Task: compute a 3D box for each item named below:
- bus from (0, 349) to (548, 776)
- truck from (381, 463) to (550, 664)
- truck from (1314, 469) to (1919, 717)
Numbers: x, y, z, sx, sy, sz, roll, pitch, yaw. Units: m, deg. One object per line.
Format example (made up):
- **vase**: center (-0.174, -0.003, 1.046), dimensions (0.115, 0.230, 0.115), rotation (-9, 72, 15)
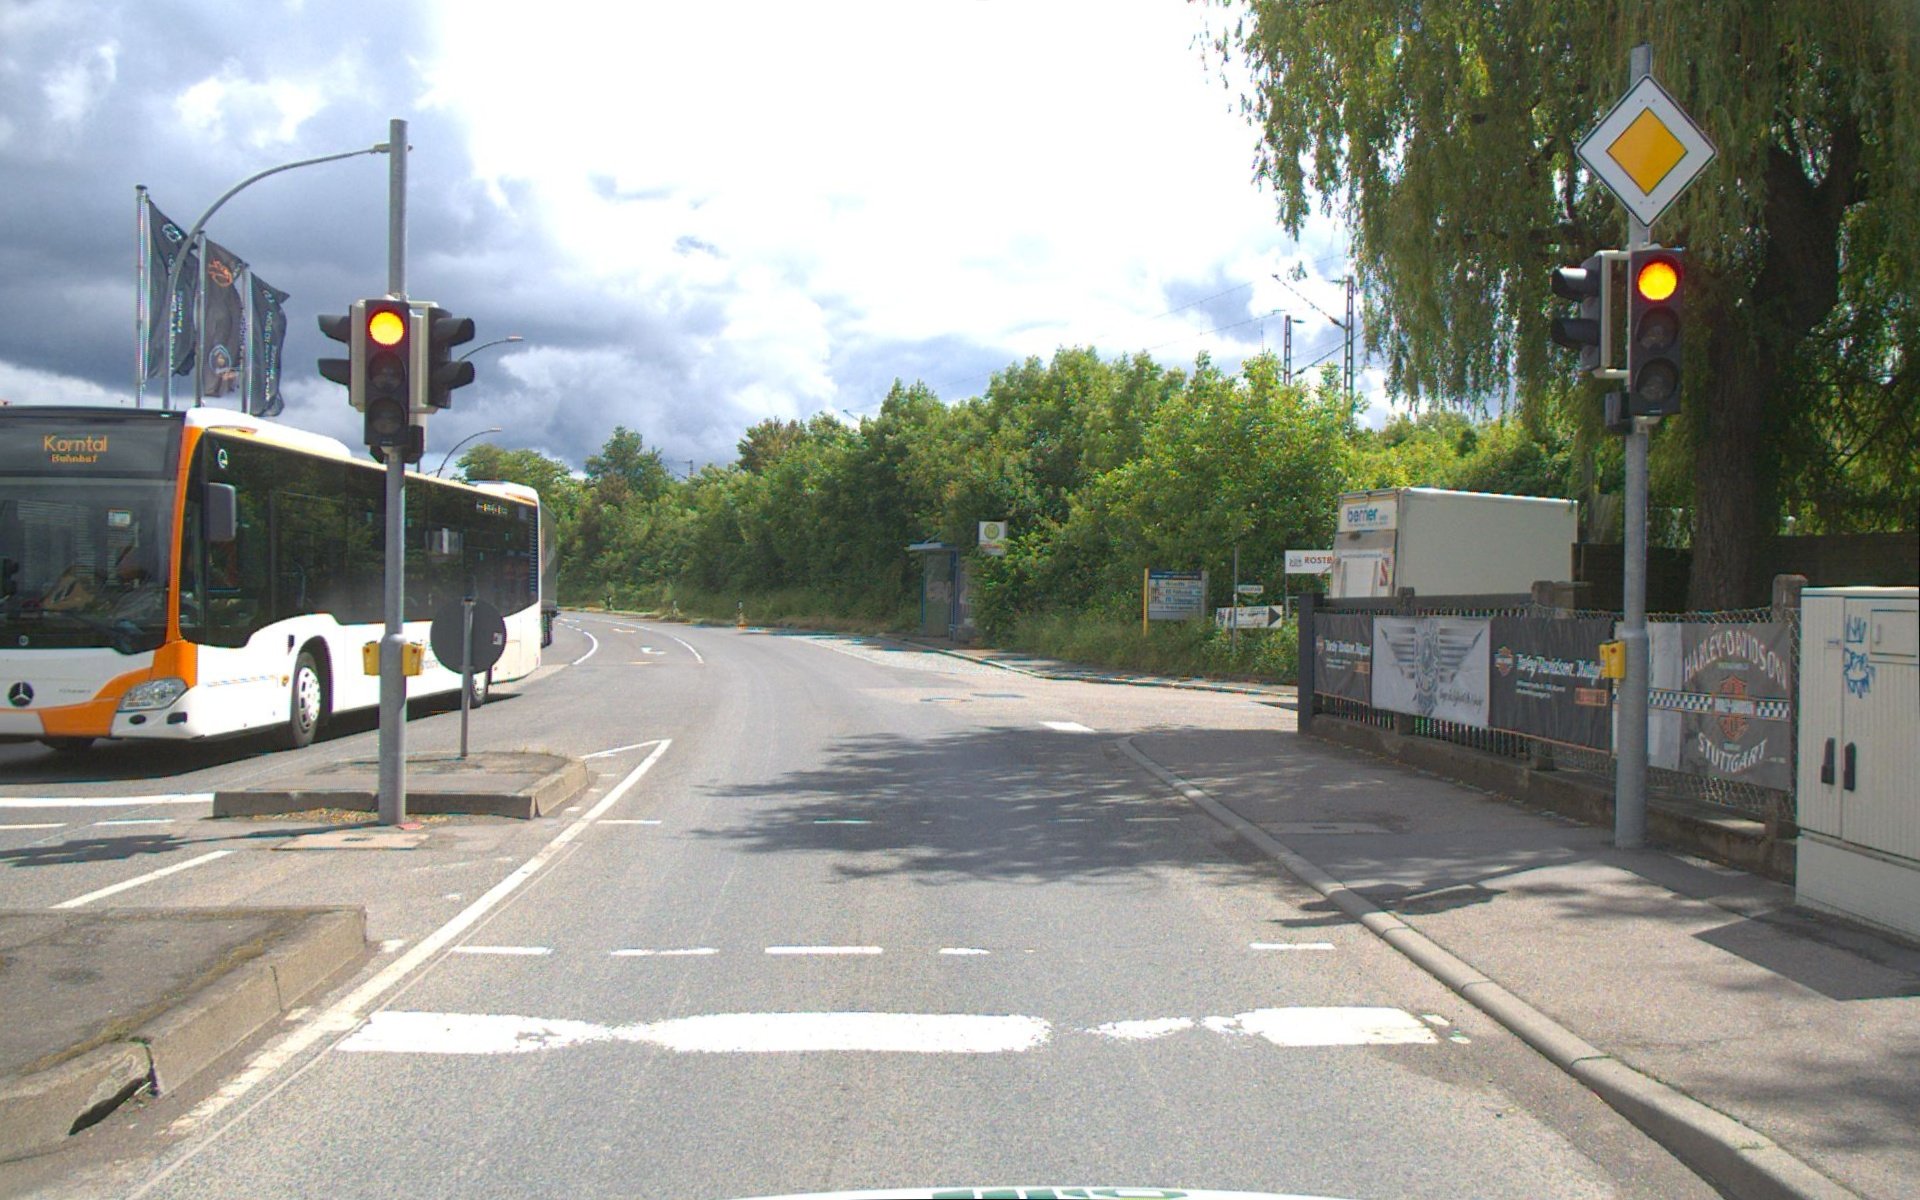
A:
- **bus**: center (-7.506, -0.283, 18.958), dimensions (2.721, 3.323, 12.120), rotation (0, 0, -1)
- **truck**: center (-11.721, -0.774, 40.009), dimensions (2.383, 4.203, 9.133), rotation (3, 0, -8)
- **truck**: center (11.176, -0.070, 28.371), dimensions (9.513, 3.602, 2.843), rotation (3, 0, -9)
